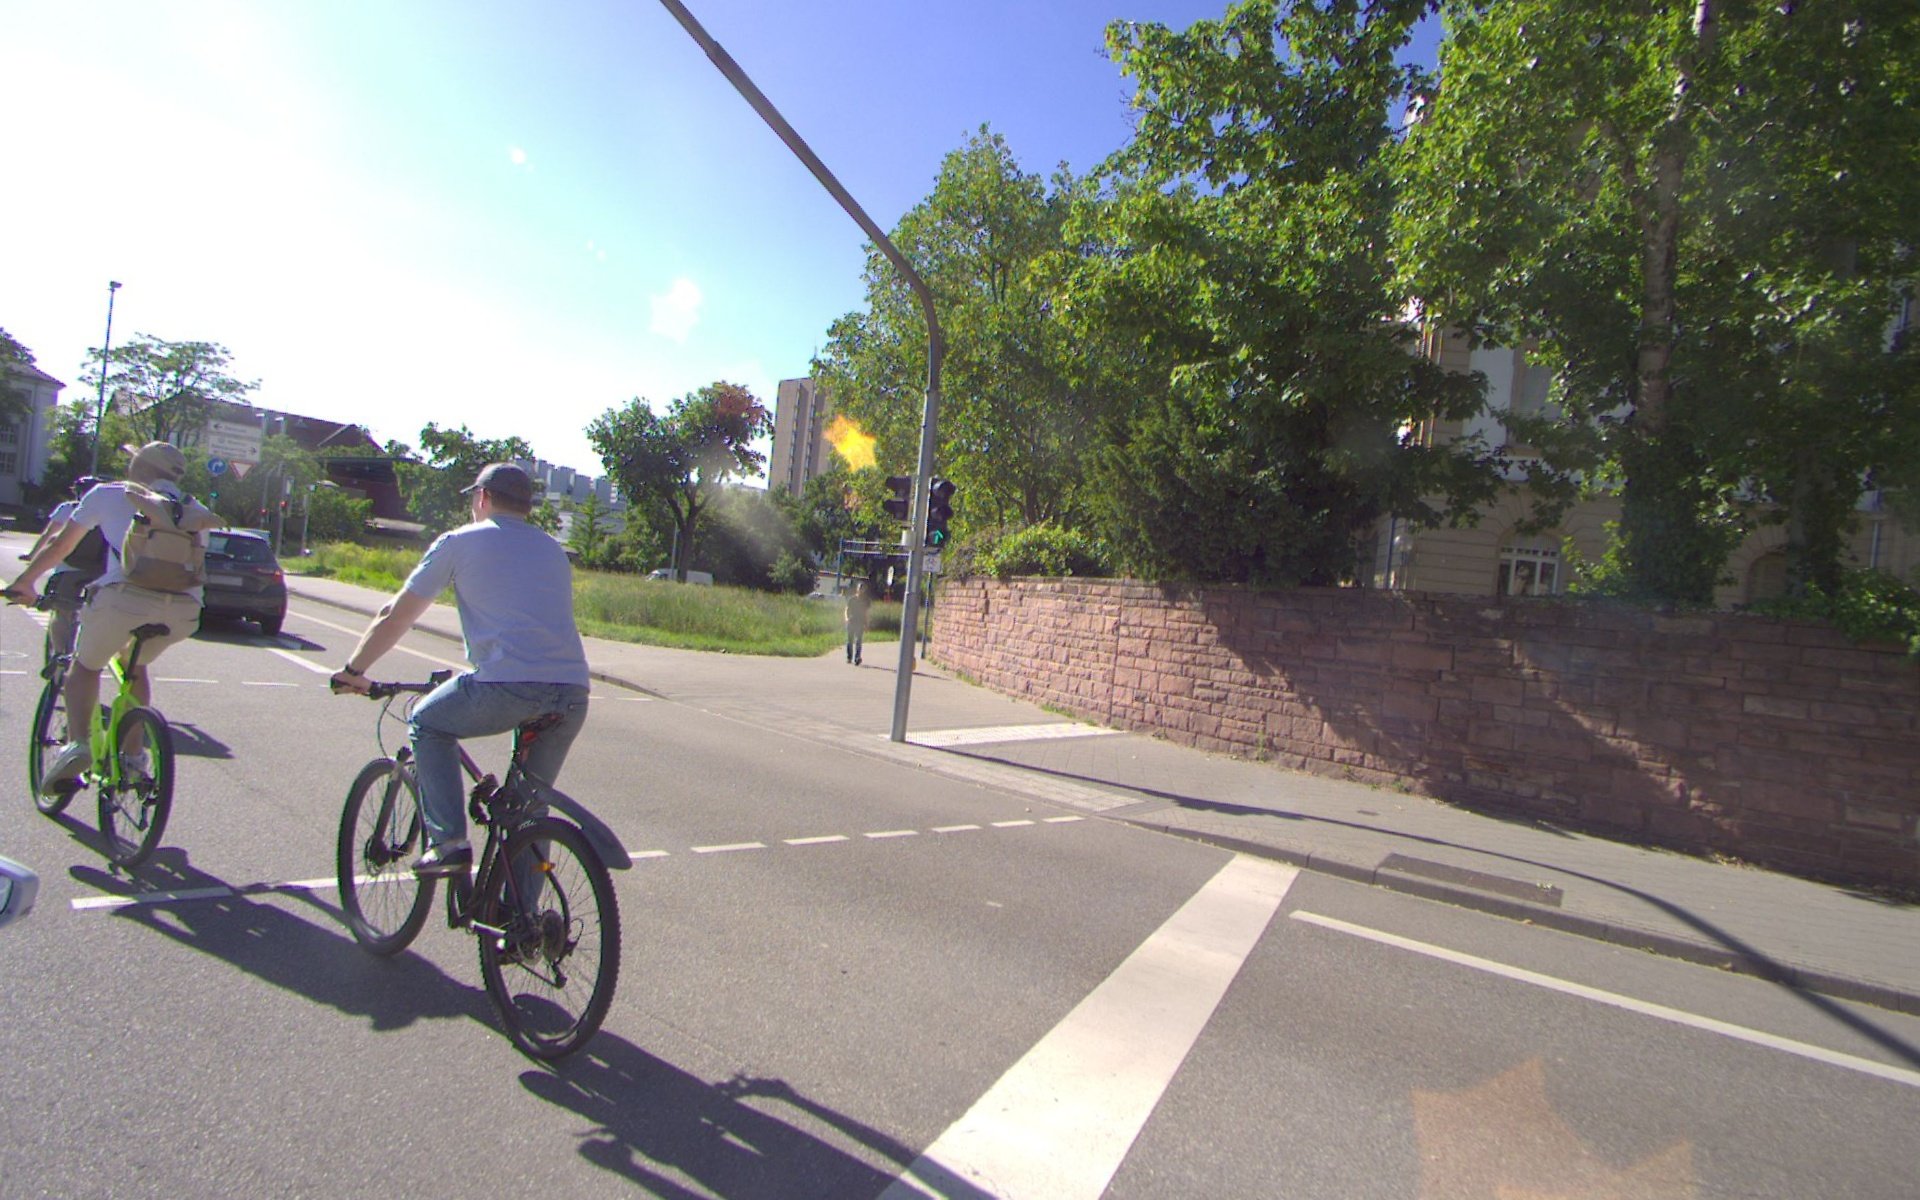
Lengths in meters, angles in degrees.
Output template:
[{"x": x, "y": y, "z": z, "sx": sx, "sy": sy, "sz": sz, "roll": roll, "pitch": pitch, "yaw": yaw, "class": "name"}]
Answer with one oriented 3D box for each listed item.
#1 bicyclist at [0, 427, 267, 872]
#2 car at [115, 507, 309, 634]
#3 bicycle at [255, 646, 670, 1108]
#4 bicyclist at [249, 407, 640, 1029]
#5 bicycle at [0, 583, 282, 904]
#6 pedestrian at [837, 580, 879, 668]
[{"x": -3.808, "y": 0.178, "z": 4.557, "sx": 0.990, "sy": 1.769, "sz": 0.663, "roll": 9, "pitch": 2, "yaw": 36, "class": "bicyclist"}, {"x": -11.388, "y": -0.463, "z": 15.236, "sx": 3.613, "sy": 1.560, "sz": 1.752, "roll": 4, "pitch": -2, "yaw": 45, "class": "car"}, {"x": -1.846, "y": 0.811, "z": 3.577, "sx": 1.805, "sy": 1.090, "sz": 0.610, "roll": 5, "pitch": -1, "yaw": 42, "class": "bicycle"}, {"x": -1.806, "y": 0.342, "z": 3.506, "sx": 1.000, "sy": 1.797, "sz": 0.748, "roll": 6, "pitch": 0, "yaw": 42, "class": "bicyclist"}, {"x": -3.894, "y": 0.552, "z": 4.592, "sx": 1.861, "sy": 1.060, "sz": 0.662, "roll": 7, "pitch": 1, "yaw": 36, "class": "bicycle"}, {"x": -2.283, "y": 0.528, "z": 22.436, "sx": 0.747, "sy": 1.856, "sz": 1.048, "roll": 5, "pitch": 1, "yaw": -7, "class": "pedestrian"}]
